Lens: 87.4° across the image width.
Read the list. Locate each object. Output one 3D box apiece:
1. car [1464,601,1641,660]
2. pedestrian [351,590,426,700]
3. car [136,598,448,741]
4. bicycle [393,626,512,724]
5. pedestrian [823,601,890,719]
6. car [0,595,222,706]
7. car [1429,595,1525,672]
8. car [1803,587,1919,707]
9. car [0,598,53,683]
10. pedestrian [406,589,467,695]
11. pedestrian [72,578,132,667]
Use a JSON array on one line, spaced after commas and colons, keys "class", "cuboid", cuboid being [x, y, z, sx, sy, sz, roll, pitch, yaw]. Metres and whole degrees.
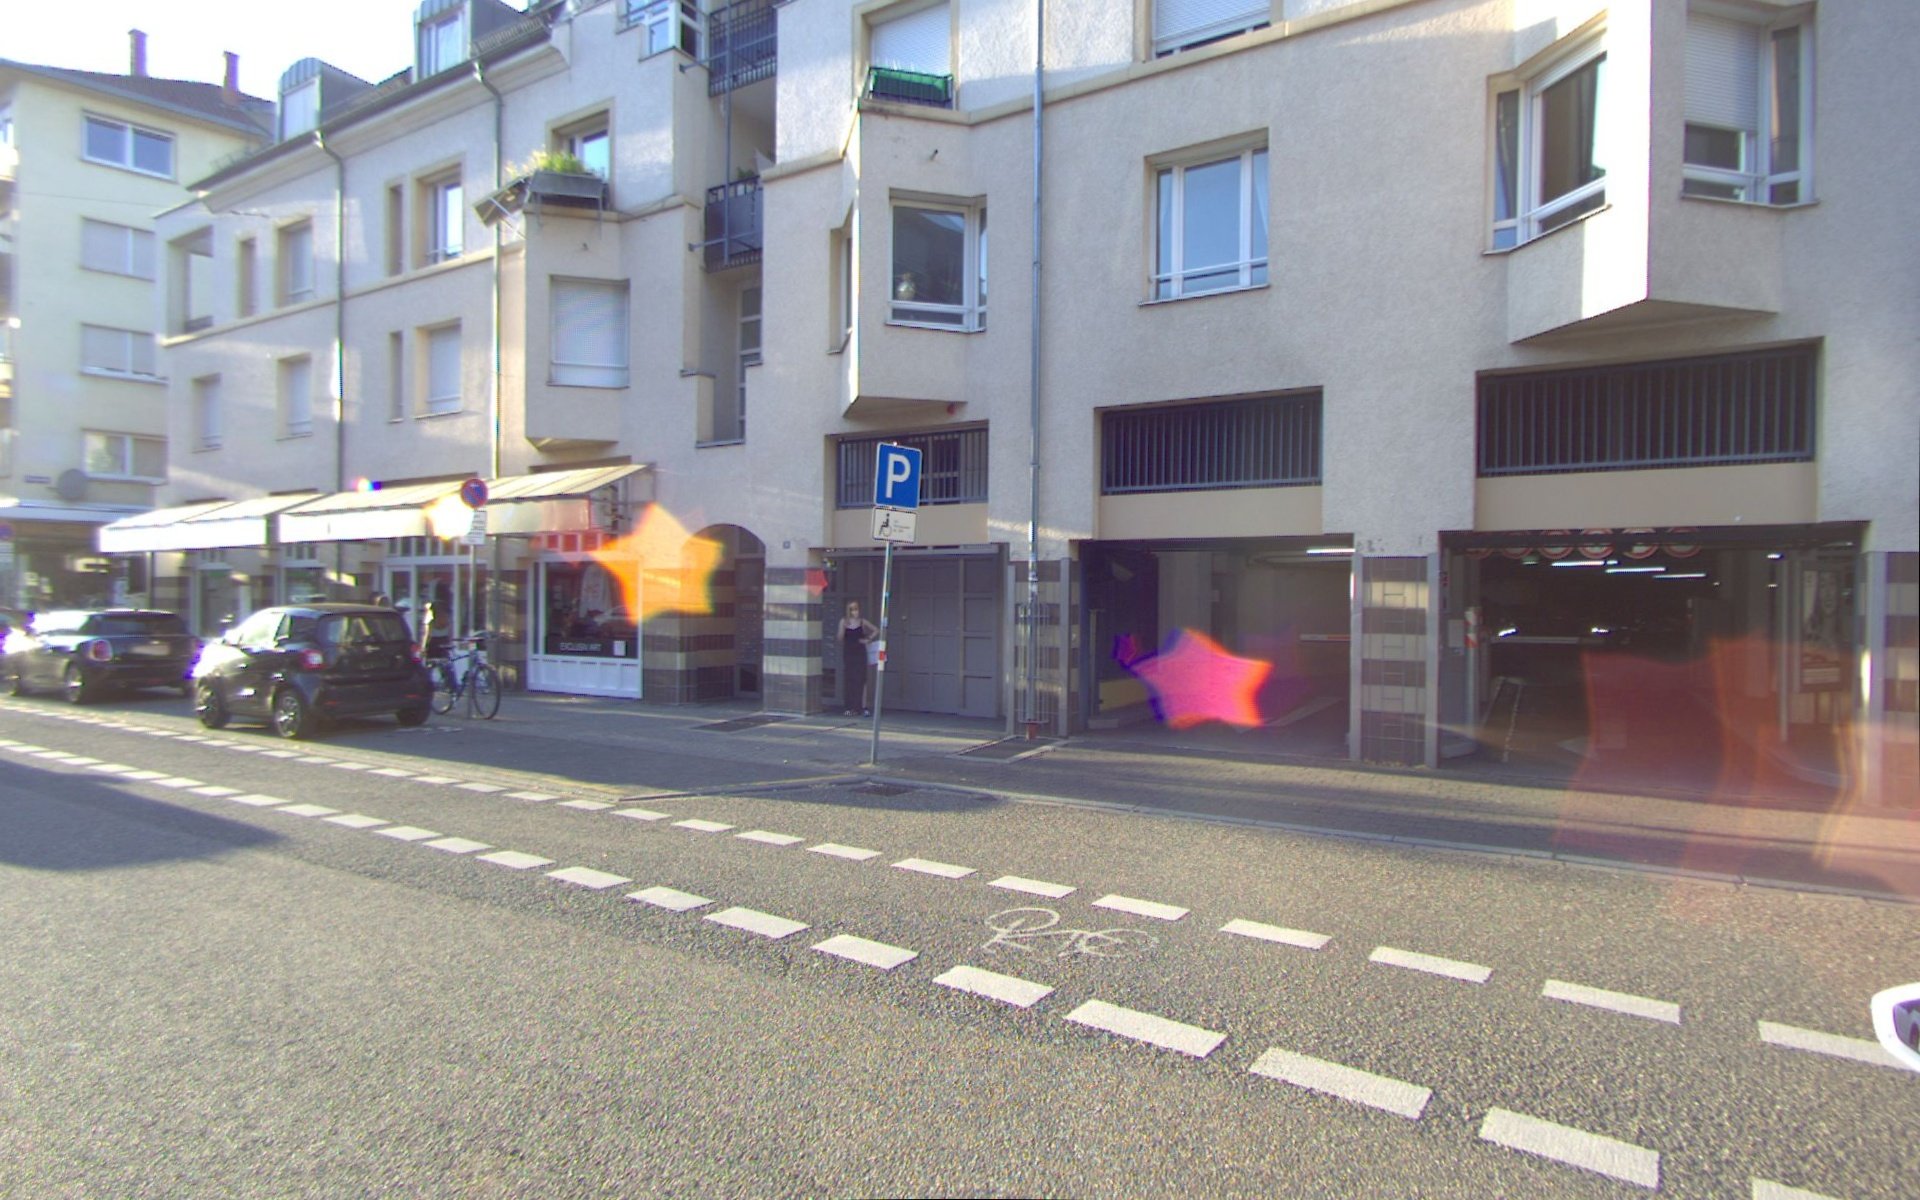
[{"class": "car", "cuboid": [17.921, 0.873, 30.543, 1.872, 1.646, 4.260, 1, 0, -34]}, {"class": "pedestrian", "cuboid": [-9.255, 0.698, 16.271, 1.022, 1.723, 0.631, 1, 0, 30]}, {"class": "car", "cuboid": [-8.773, 0.800, 13.155, 3.895, 1.601, 1.792, 1, 0, 29]}, {"class": "bicycle", "cuboid": [-6.974, 0.993, 13.768, 1.944, 1.222, 0.558, 1, 0, 33]}, {"class": "pedestrian", "cuboid": [-1.438, 0.811, 13.958, 0.770, 1.593, 0.529, 1, 0, -32]}, {"class": "car", "cuboid": [-14.049, 0.754, 16.432, 3.718, 1.601, 1.792, 1, 0, 29]}, {"class": "car", "cuboid": [11.981, 0.740, 23.143, 1.786, 1.594, 4.243, 0, -1, 30]}, {"class": "car", "cuboid": [14.201, 0.629, 15.312, 1.534, 1.639, 3.870, 0, 1, 32]}, {"class": "car", "cuboid": [-19.866, 0.745, 19.827, 3.718, 1.601, 1.792, 1, 0, 29]}, {"class": "pedestrian", "cuboid": [-8.724, 0.675, 16.739, 0.817, 1.723, 0.560, 1, 0, 30]}, {"class": "pedestrian", "cuboid": [-17.398, 0.437, 20.373, 0.725, 1.757, 0.719, 1, 1, 30]}]
